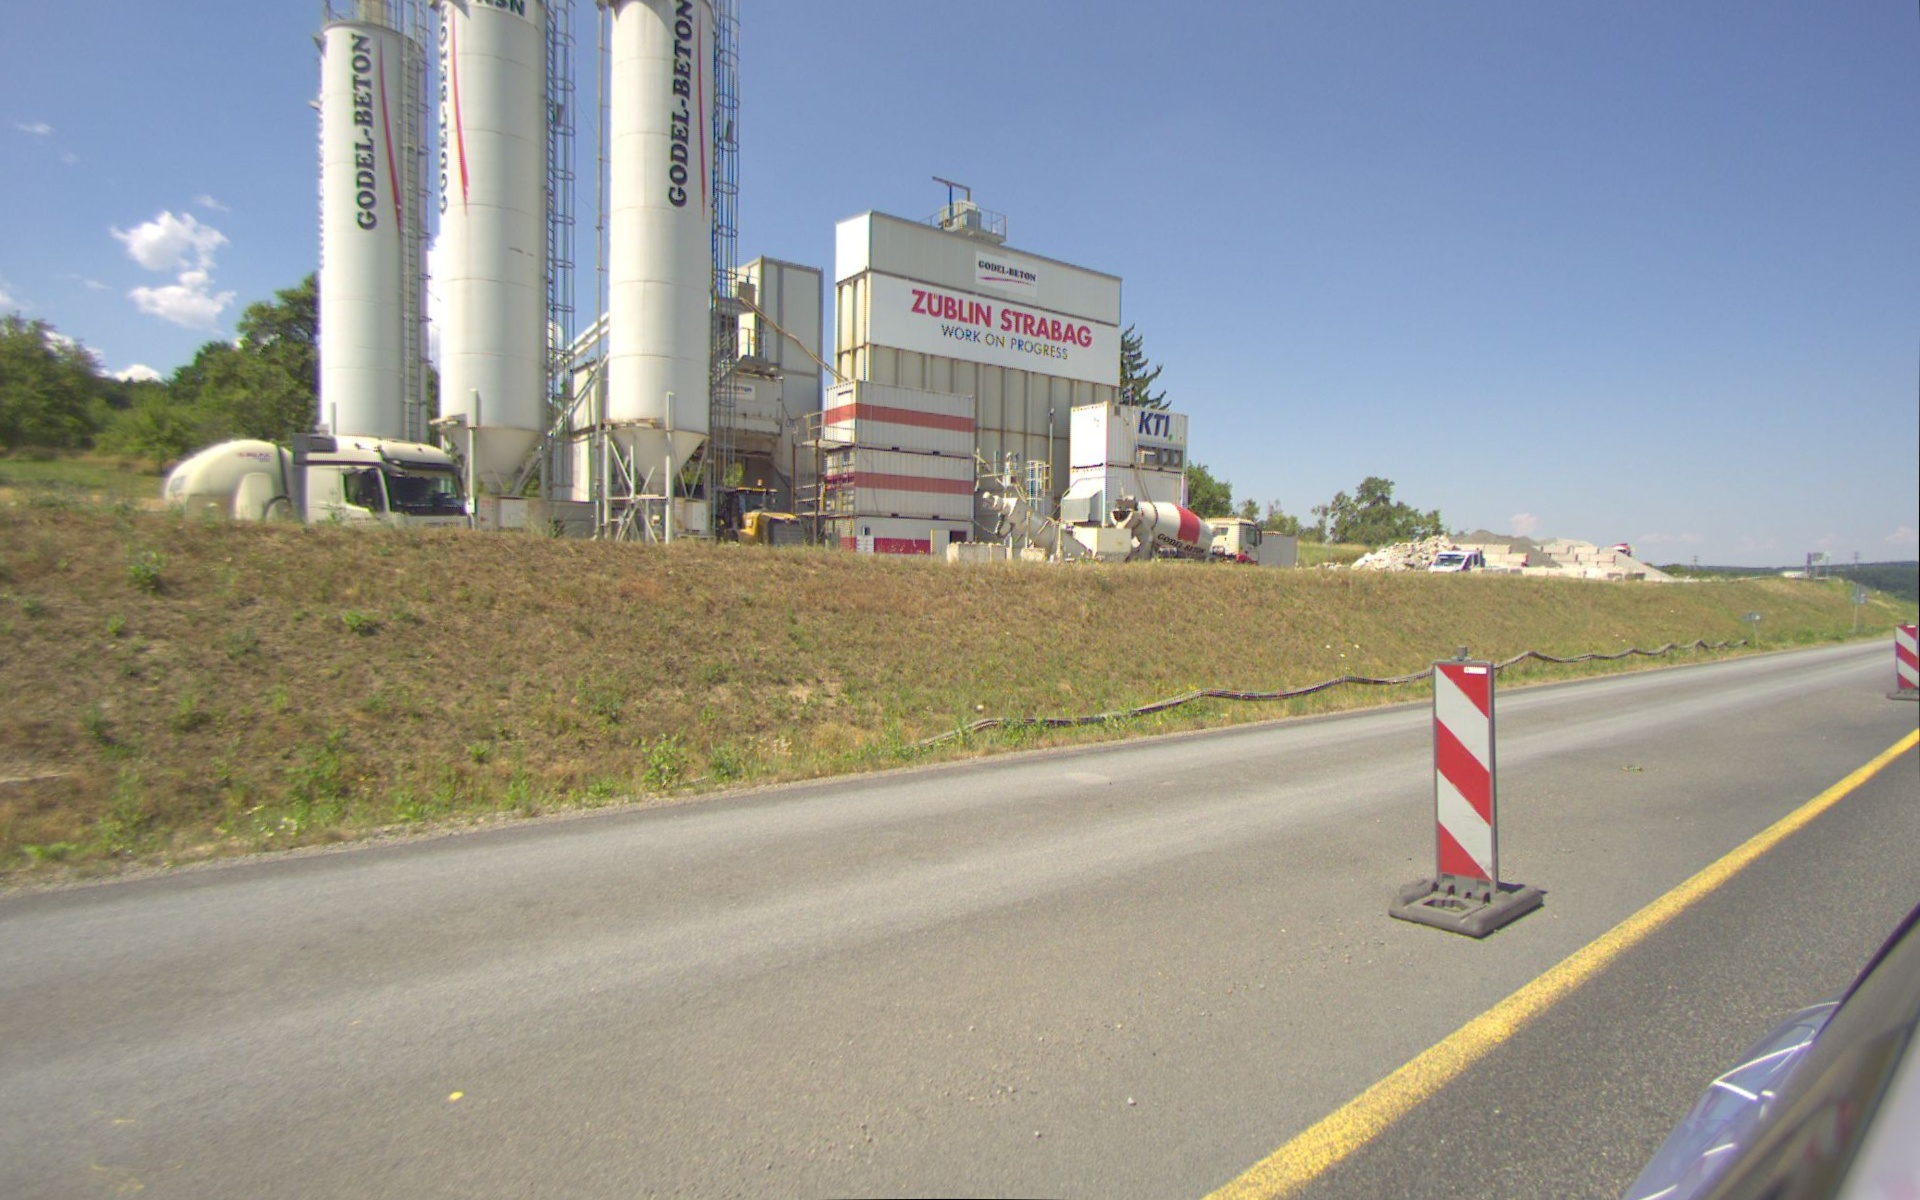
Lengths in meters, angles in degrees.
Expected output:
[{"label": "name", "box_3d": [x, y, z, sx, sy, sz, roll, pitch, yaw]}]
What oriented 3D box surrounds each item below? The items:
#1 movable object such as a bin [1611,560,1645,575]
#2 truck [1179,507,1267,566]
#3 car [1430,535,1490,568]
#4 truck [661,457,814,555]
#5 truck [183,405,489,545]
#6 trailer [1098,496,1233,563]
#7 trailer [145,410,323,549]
[{"label": "movable object such as a bin", "box_3d": [32.588, -1.565, 49.360, 2.210, 0.690, 0.837, -1, 0, -41]}, {"label": "truck", "box_3d": [12.416, -2.936, 47.661, 3.967, 2.577, 2.022, 0, 0, -38]}, {"label": "car", "box_3d": [29.216, -2.786, 59.102, 3.539, 1.785, 1.989, -1, 0, -41]}, {"label": "truck", "box_3d": [-8.642, -3.328, 38.197, 2.412, 2.904, 9.102, 0, 0, -34]}, {"label": "truck", "box_3d": [-13.557, -2.603, 22.188, 5.228, 2.576, 2.893, 0, 0, 13]}, {"label": "trailer", "box_3d": [9.277, -3.051, 45.249, 6.809, 2.678, 1.999, -1, 0, -38]}, {"label": "trailer", "box_3d": [-18.321, -2.725, 25.234, 2.423, 2.639, 8.902, 0, 1, -44]}]
